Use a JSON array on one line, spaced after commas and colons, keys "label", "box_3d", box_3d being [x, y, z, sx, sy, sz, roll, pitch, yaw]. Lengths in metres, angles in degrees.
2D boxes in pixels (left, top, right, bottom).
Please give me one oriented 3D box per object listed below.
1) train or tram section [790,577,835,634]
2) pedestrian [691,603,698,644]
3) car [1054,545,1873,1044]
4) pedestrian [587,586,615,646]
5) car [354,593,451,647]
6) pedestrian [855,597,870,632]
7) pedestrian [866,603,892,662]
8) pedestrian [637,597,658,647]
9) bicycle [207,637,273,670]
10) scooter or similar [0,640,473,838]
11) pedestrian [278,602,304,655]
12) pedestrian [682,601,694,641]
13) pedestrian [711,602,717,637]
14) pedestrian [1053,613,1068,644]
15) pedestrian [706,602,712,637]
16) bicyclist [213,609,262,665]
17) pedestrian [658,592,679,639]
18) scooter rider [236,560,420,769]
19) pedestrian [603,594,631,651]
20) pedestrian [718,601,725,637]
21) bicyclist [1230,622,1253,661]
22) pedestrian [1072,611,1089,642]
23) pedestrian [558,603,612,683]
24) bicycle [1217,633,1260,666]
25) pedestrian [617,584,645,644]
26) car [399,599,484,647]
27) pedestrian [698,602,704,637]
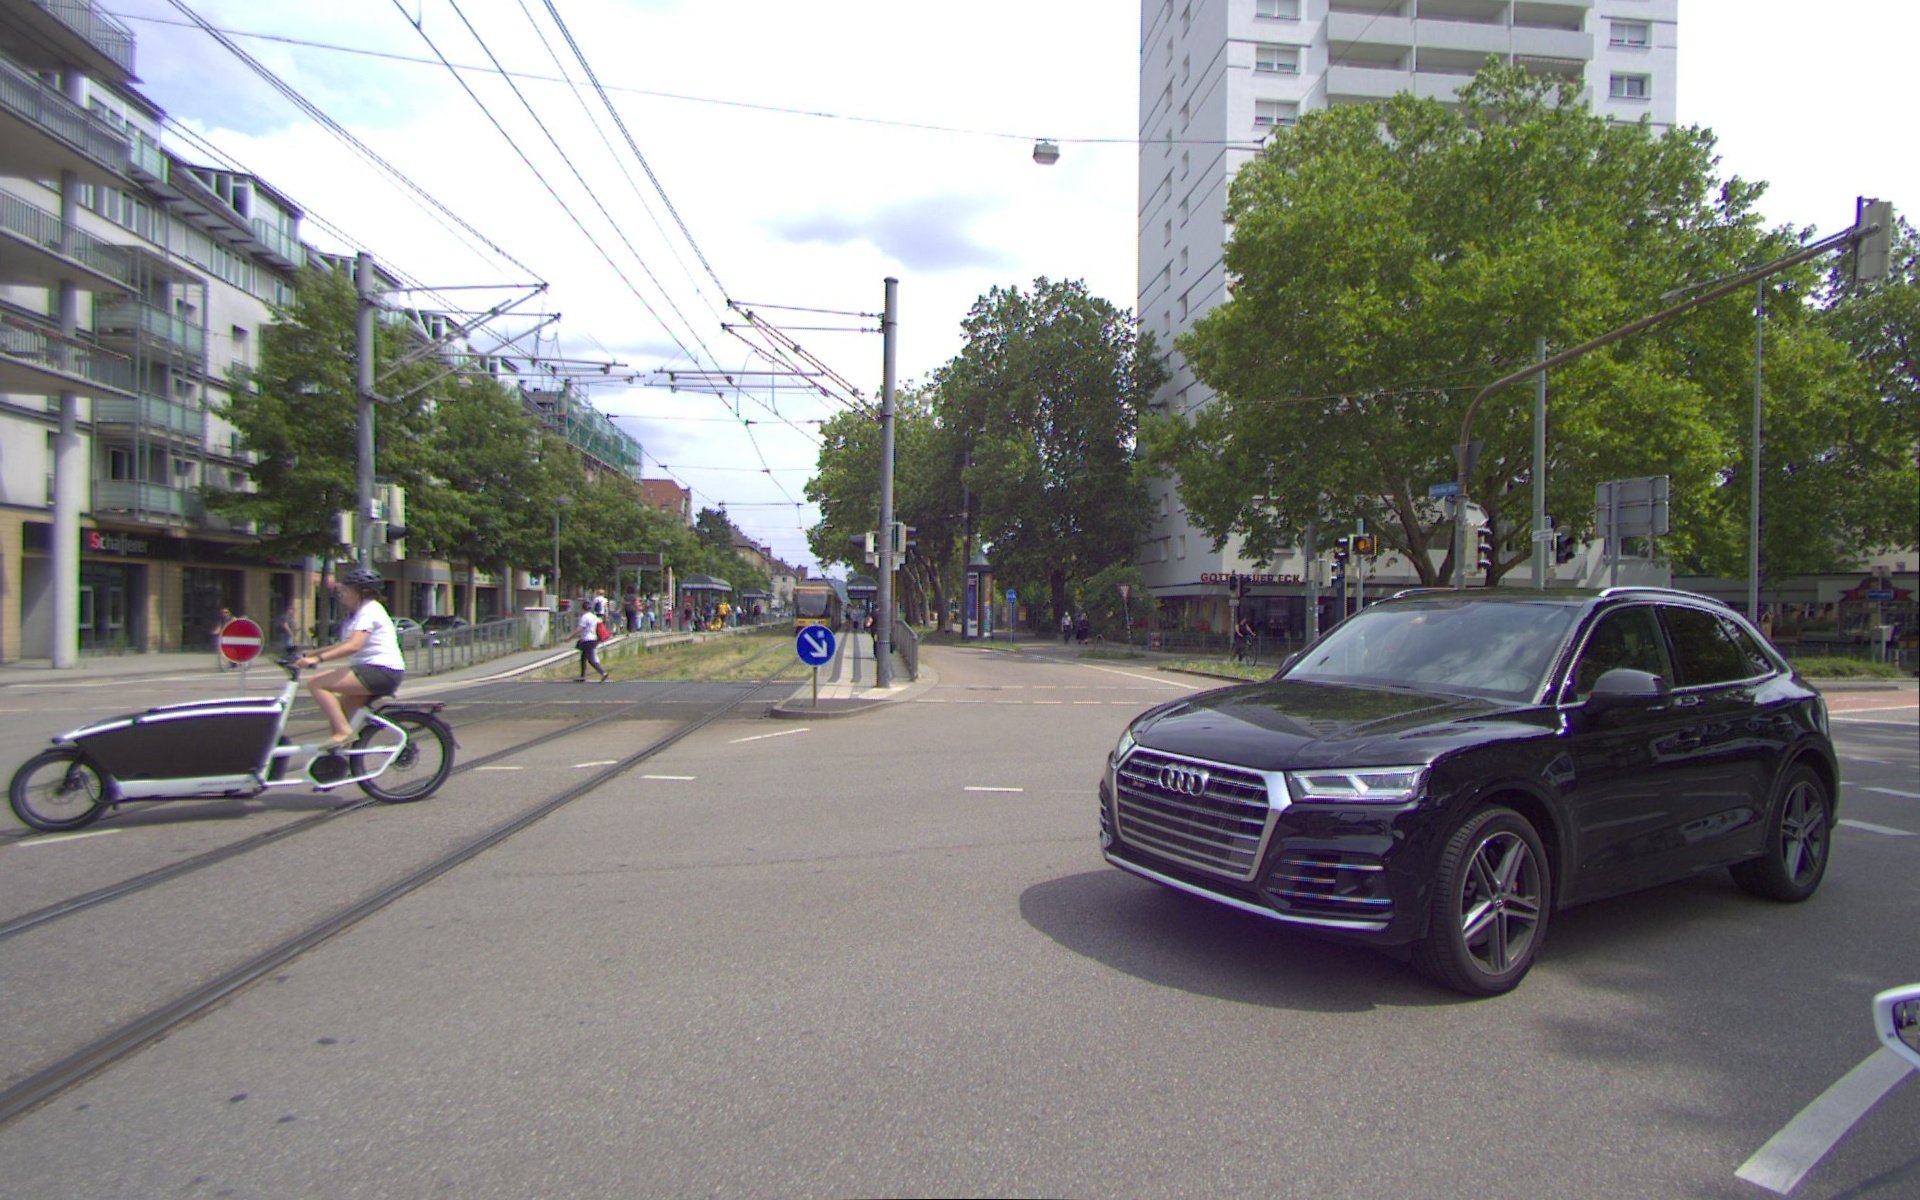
[{"label": "train or tram section", "box_3d": [-9.184, 0.368, 63.123, 2.322, 3.359, 7.510, 0, -1, -5]}, {"label": "pedestrian", "box_3d": [-13.413, 1.178, 50.797, 0.282, 2.040, 0.354, 1, -1, -7]}, {"label": "car", "box_3d": [2.797, 0.682, 5.286, 4.377, 1.669, 1.813, 1, 0, -32]}, {"label": "pedestrian", "box_3d": [-12.326, 0.560, 34.498, 0.746, 2.040, 0.757, 1, -1, -6]}, {"label": "car", "box_3d": [-22.408, 0.796, 40.542, 1.962, 2.040, 3.997, 0, 0, -5]}, {"label": "pedestrian", "box_3d": [-5.770, 0.848, 59.325, 0.837, 2.040, 0.872, 0, 0, -8]}, {"label": "pedestrian", "box_3d": [-2.199, 0.871, 27.257, 0.657, 1.572, 0.598, 0, 0, -8]}, {"label": "pedestrian", "box_3d": [-14.274, 1.011, 45.867, 0.746, 2.280, 0.757, 1, -1, -6]}, {"label": "bicycle", "box_3d": [-19.470, 1.444, 27.217, 0.640, 0.827, 1.789, 1, -1, -6]}, {"label": "scooter or similar", "box_3d": [-4.928, 0.881, 7.057, 2.657, 1.153, 0.735, 1, 0, -31]}, {"label": "pedestrian", "box_3d": [-22.318, 0.931, 33.505, 0.514, 1.745, 0.560, 0, 0, 37]}, {"label": "pedestrian", "box_3d": [-13.713, 1.059, 50.648, 0.492, 2.040, 0.369, 1, -1, -7]}, {"label": "pedestrian", "box_3d": [-13.704, 1.091, 55.926, 0.320, 1.908, 0.311, 1, -1, -16]}, {"label": "pedestrian", "box_3d": [5.351, 1.514, 53.426, 0.684, 1.645, 0.505, 1, -1, -9]}, {"label": "pedestrian", "box_3d": [-14.314, 1.134, 57.227, 0.320, 1.980, 0.311, 1, -1, -16]}, {"label": "bicyclist", "box_3d": [-19.441, 0.988, 27.042, 0.629, 1.463, 0.999, 1, -1, -6]}, {"label": "pedestrian", "box_3d": [-12.916, 0.686, 44.464, 0.746, 2.040, 0.757, 1, -1, -6]}, {"label": "scooter rider", "box_3d": [-4.547, 0.437, 7.289, 1.074, 1.394, 0.735, 1, 0, -31]}, {"label": "pedestrian", "box_3d": [-12.247, 0.803, 35.876, 0.746, 2.040, 0.757, 1, -1, -6]}, {"label": "pedestrian", "box_3d": [-13.324, 1.047, 56.069, 0.320, 1.980, 0.311, 1, -1, -16]}, {"label": "bicyclist", "box_3d": [9.827, 1.452, 35.077, 0.483, 1.360, 0.751, 0, -2, -10]}, {"label": "pedestrian", "box_3d": [6.372, 1.389, 53.111, 0.684, 1.657, 0.683, 1, -1, -9]}, {"label": "pedestrian", "box_3d": [-7.579, 0.857, 20.343, 0.852, 1.572, 0.838, 0, 0, -7]}, {"label": "bicycle", "box_3d": [9.780, 1.733, 35.297, 0.616, 1.108, 1.967, 0, -3, -12]}, {"label": "pedestrian", "box_3d": [-11.276, 0.487, 34.469, 0.746, 2.040, 0.757, 1, -1, -6]}, {"label": "car", "box_3d": [-22.987, 1.013, 44.673, 1.962, 2.040, 3.997, 0, 0, -5]}, {"label": "pedestrian", "box_3d": [-14.724, 1.112, 57.055, 0.320, 1.980, 0.311, 1, -1, -16]}]
